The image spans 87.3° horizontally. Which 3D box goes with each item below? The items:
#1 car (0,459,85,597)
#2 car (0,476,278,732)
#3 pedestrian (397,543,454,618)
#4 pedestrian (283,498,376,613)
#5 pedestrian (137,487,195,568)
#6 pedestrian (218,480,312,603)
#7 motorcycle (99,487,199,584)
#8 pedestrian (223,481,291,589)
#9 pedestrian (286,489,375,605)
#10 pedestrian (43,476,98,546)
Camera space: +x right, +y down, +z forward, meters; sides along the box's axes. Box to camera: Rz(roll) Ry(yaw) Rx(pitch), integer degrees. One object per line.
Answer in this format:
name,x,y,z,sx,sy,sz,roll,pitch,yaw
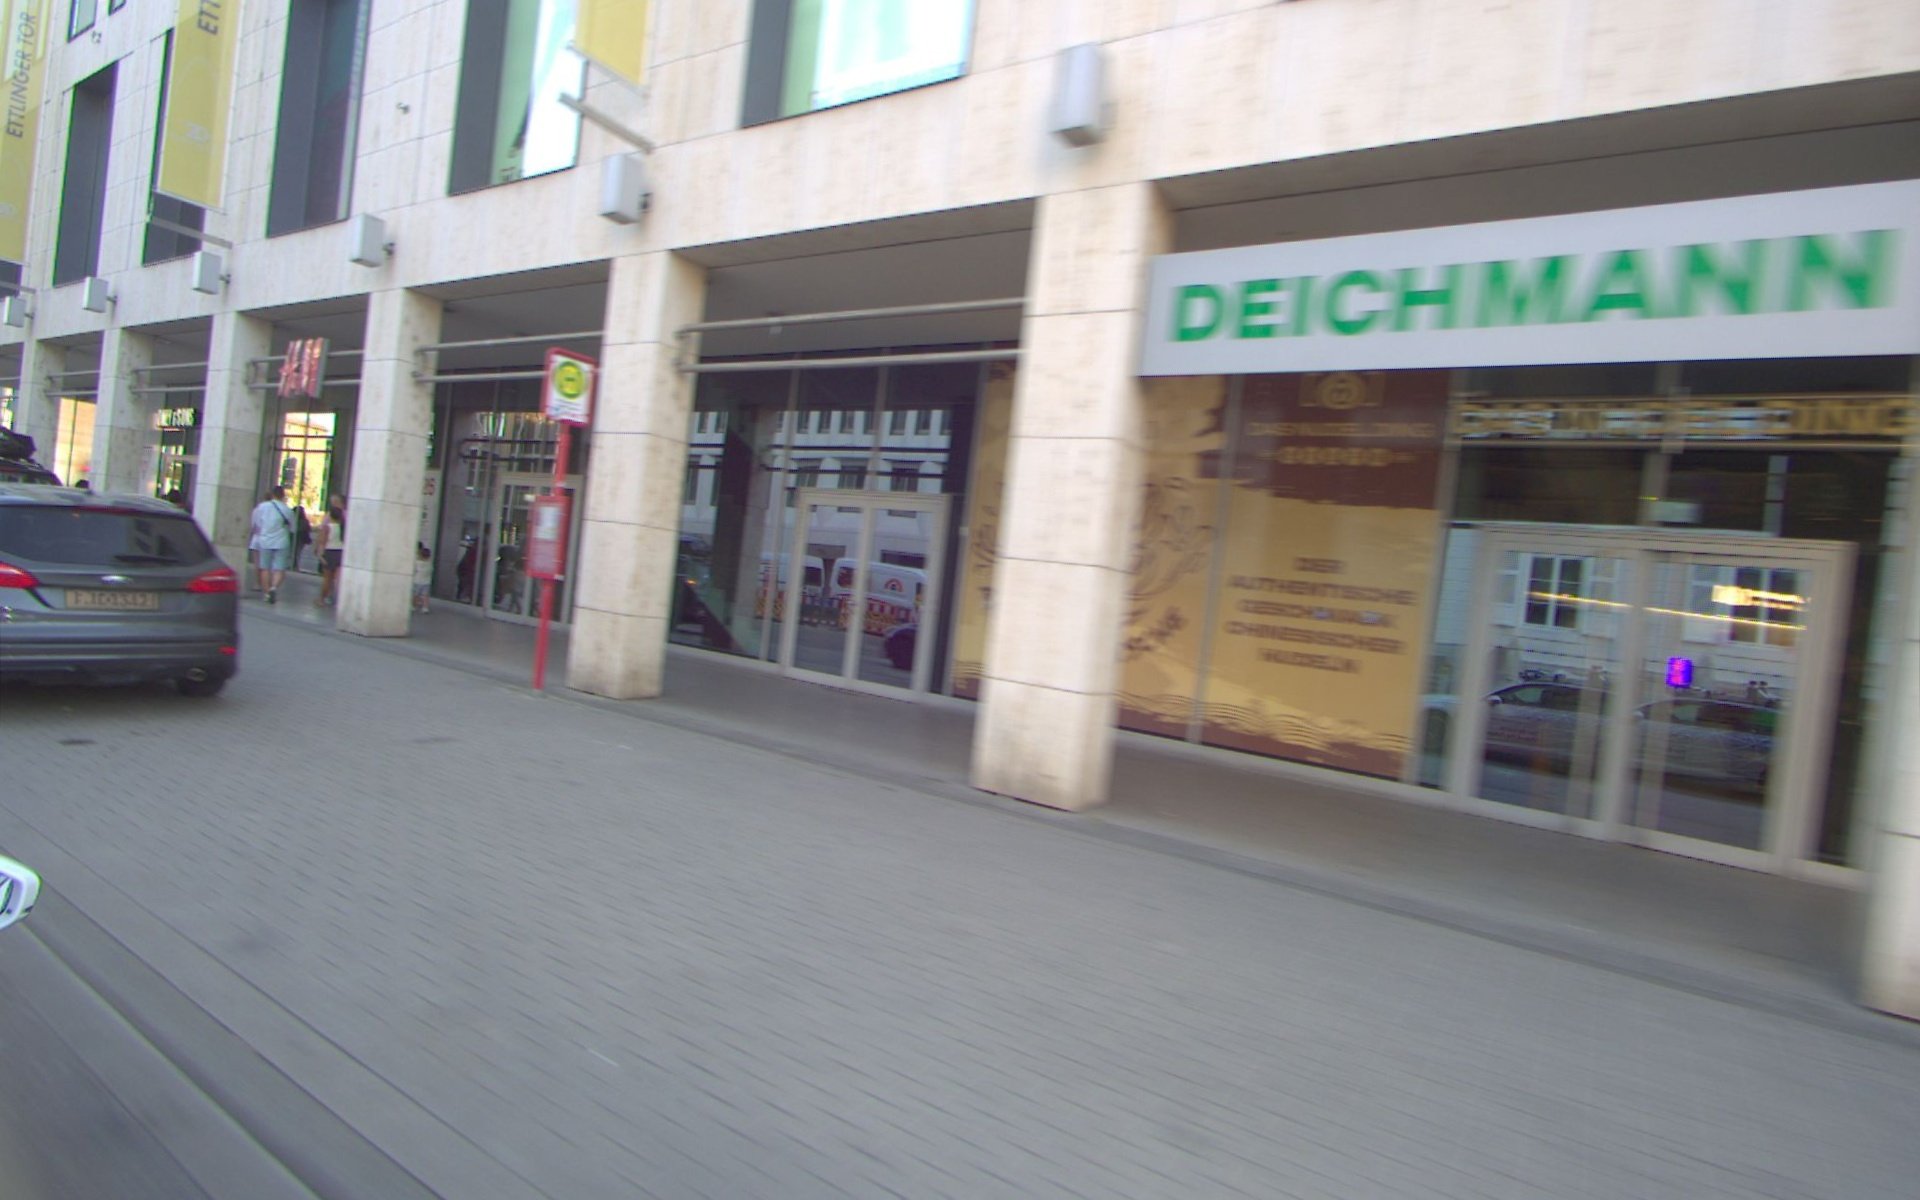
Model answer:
car,-13.351,-1.080,13.257,3.992,1.660,1.767,7,3,34
car,-7.086,-0.153,7.588,4.125,1.511,1.794,7,3,34
pedestrian,-8.668,-0.316,16.321,0.592,1.111,0.487,9,2,33
pedestrian,-9.578,-0.665,15.291,0.862,1.587,0.765,9,2,33
pedestrian,-16.867,-1.533,21.371,0.762,1.588,0.634,9,2,33
pedestrian,-10.572,-0.881,15.308,0.862,1.703,0.765,9,2,33
motorcycle,-13.771,-1.106,17.055,2.102,1.434,0.692,7,1,36
pedestrian,-11.881,-1.096,16.998,0.684,1.720,0.591,8,1,31
pedestrian,-10.149,-0.844,16.223,0.862,1.703,0.765,9,2,33
pedestrian,-21.496,-2.145,24.308,0.717,1.561,0.725,7,1,33
